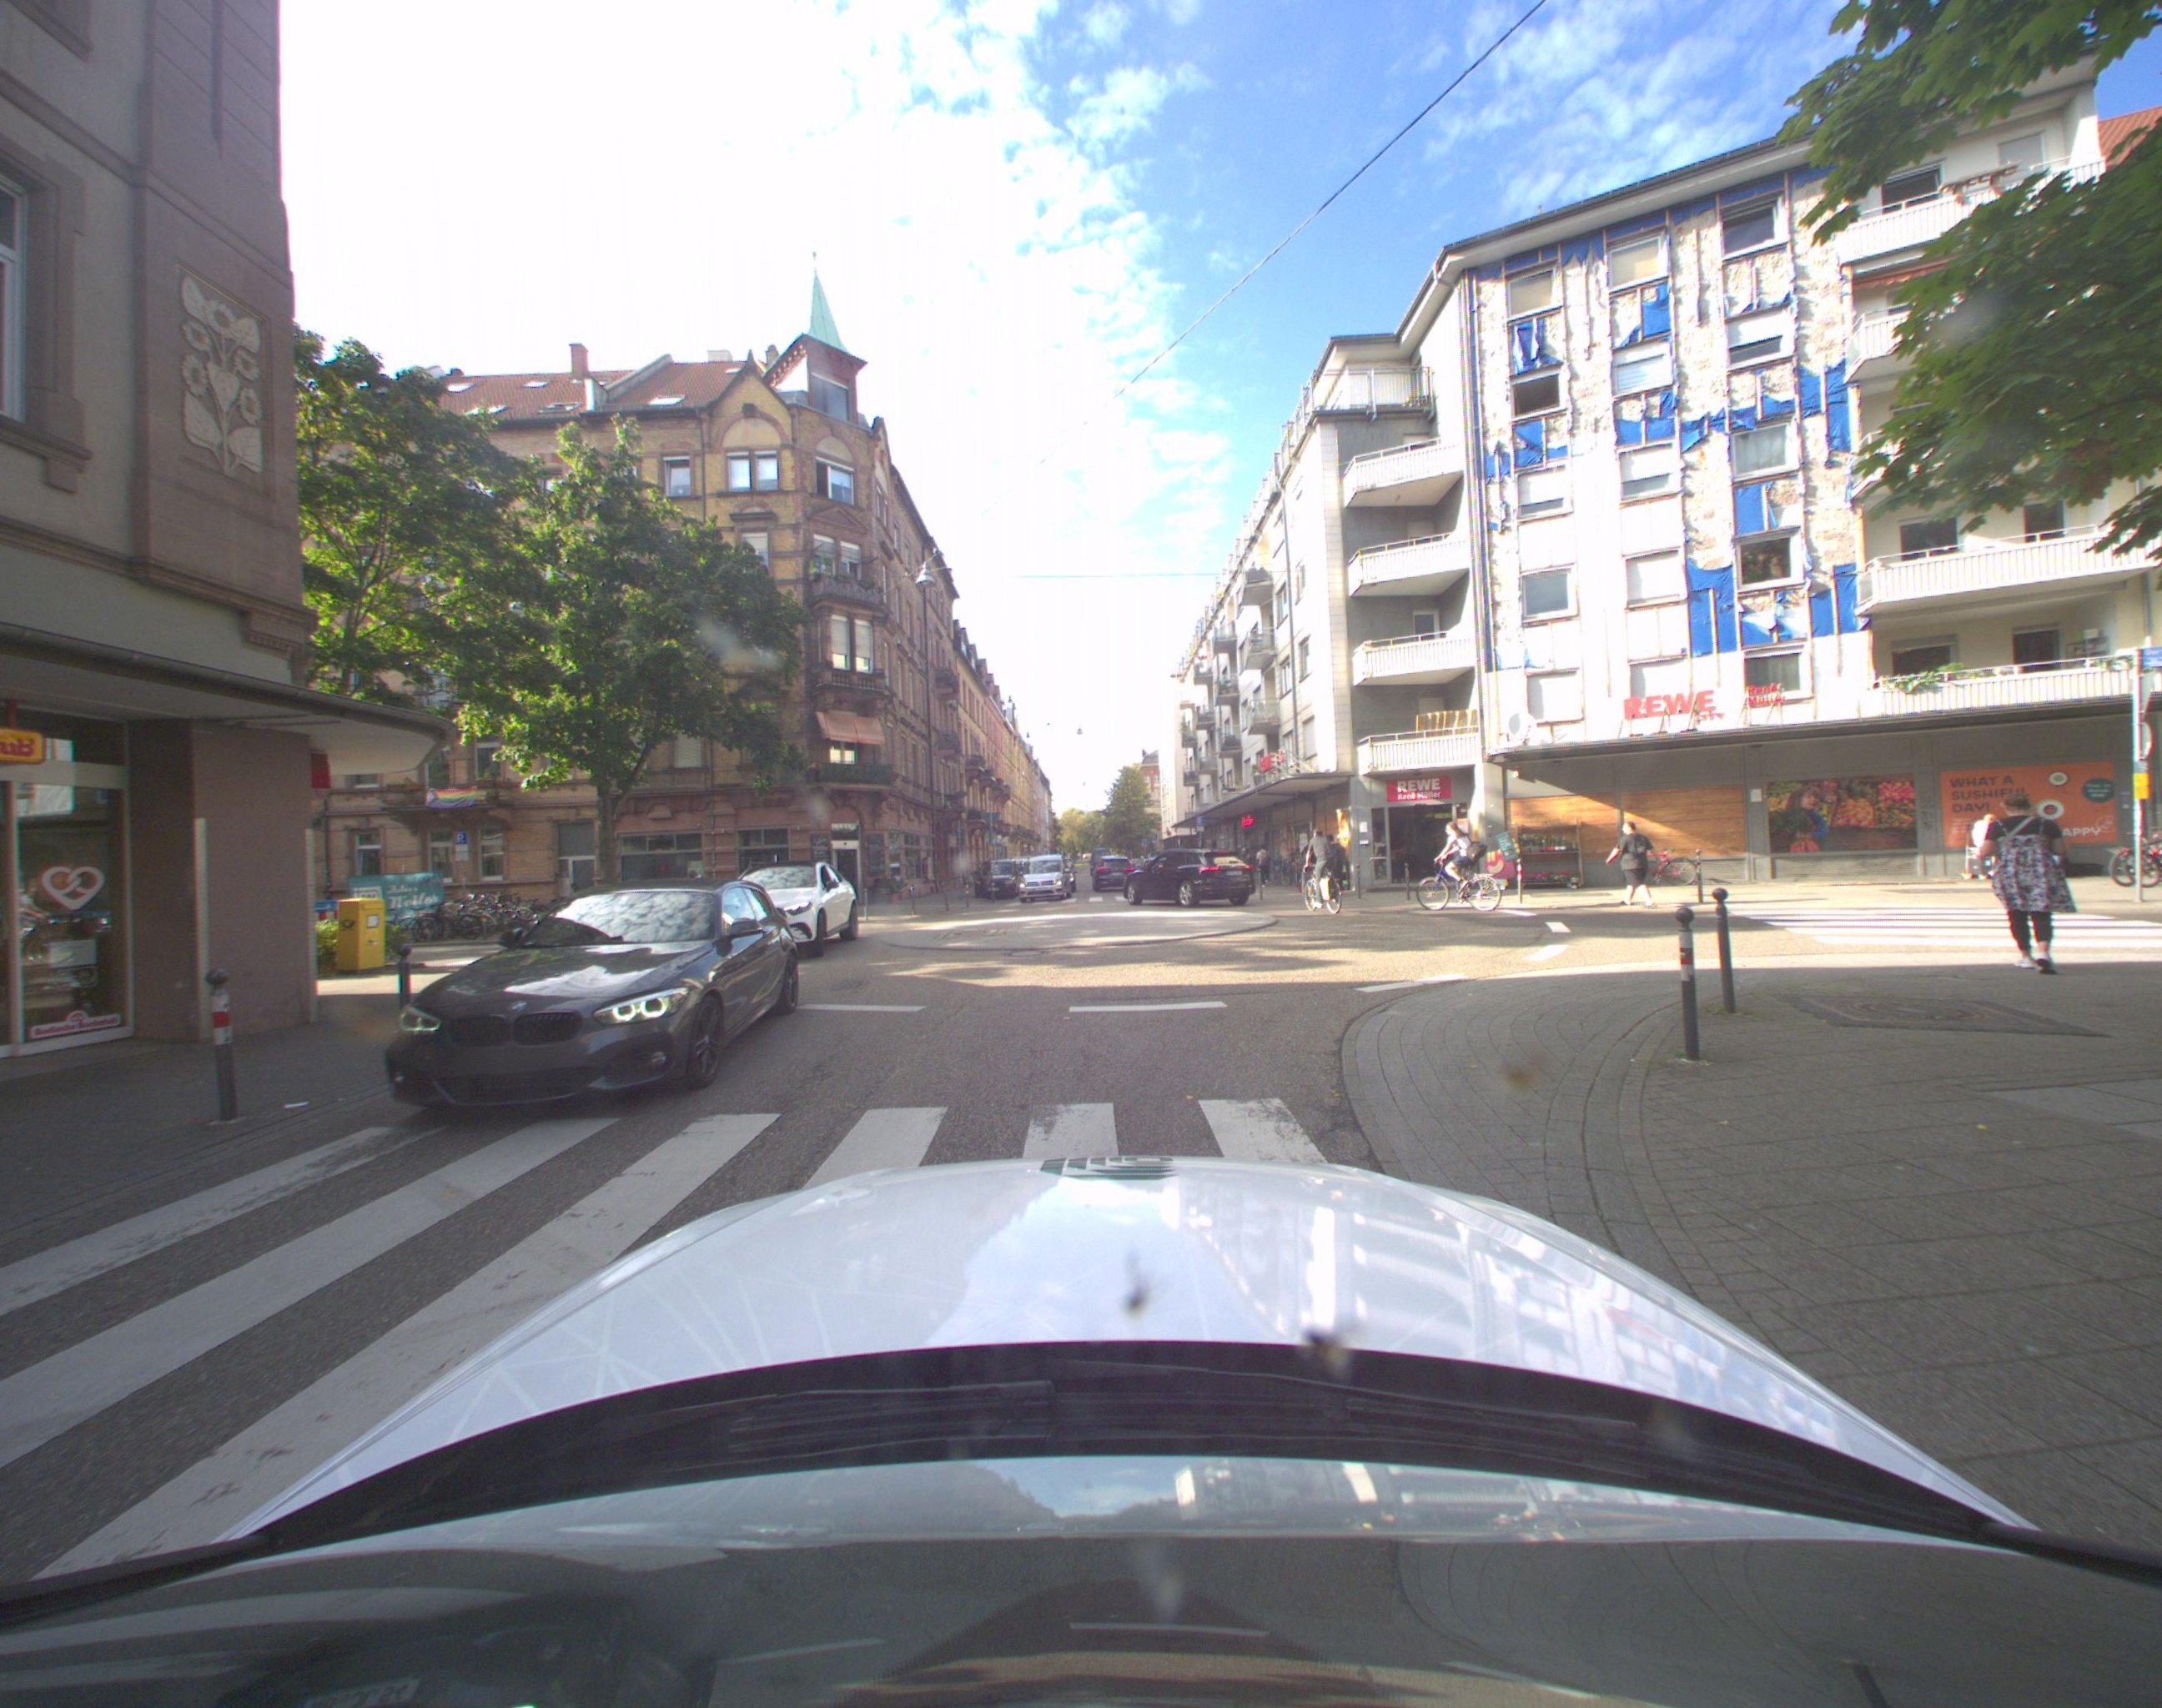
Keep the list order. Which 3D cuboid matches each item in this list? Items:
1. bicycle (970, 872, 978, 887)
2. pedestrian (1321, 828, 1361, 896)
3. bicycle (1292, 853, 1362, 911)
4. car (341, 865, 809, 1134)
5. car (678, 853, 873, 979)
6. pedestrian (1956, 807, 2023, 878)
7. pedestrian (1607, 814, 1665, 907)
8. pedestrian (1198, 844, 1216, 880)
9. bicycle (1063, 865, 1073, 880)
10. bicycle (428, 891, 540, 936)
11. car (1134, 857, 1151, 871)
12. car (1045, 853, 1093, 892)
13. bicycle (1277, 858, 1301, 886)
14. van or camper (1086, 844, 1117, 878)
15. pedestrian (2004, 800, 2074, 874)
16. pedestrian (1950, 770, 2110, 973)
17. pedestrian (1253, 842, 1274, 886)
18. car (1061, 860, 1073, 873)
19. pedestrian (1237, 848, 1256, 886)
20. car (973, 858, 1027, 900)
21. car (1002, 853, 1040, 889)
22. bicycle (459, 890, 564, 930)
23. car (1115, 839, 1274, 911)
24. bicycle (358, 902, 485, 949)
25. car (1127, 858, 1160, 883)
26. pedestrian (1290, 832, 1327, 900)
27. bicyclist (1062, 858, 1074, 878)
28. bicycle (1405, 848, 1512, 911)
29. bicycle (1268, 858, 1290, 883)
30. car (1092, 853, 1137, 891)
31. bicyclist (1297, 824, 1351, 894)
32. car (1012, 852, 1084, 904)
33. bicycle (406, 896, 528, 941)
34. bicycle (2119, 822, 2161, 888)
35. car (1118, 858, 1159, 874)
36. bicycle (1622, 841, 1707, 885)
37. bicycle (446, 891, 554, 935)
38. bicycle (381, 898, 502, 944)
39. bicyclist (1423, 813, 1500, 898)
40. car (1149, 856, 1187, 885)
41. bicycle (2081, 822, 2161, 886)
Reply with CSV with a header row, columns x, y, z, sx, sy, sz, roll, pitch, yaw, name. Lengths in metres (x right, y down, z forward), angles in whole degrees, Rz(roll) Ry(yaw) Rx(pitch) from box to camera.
x,y,z,sx,sy,sz,roll,pitch,yaw,name
-6.946,1.640,52.855,0.359,0.947,1.713,-2,0,-4,bicycle
7.322,0.227,22.958,0.864,1.851,0.613,-3,-1,5,pedestrian
5.322,0.578,17.810,0.664,1.178,2.495,-1,-1,-2,bicycle
-3.543,0.853,6.721,1.749,1.436,4.198,-1,-1,-9,car
-5.279,0.942,14.875,1.939,1.722,4.842,-4,1,-4,car
19.864,-0.248,17.822,0.743,1.479,0.590,-3,-1,26,pedestrian
10.817,0.123,15.893,0.624,1.739,0.778,-3,-1,13,pedestrian
6.795,0.420,43.872,0.725,1.864,1.067,-3,-1,16,pedestrian
-1.331,1.917,83.545,0.923,1.489,3.459,0,-1,-3,bicycle
-18.634,1.850,25.462,2.889,1.190,0.632,-3,-1,-3,bicycle
6.923,1.114,91.648,1.639,1.324,3.578,-5,-1,2,car
-0.535,0.901,41.094,1.919,1.724,4.740,-4,0,4,car
8.003,0.687,31.339,0.362,1.016,1.427,-2,0,-7,bicycle
1.900,0.641,76.398,2.524,3.037,4.456,-3,0,-2,van or camper
20.658,-0.368,17.578,0.740,1.550,0.736,-1,0,27,pedestrian
8.885,0.158,7.669,0.774,1.780,0.798,-3,-1,39,pedestrian
7.243,0.391,32.309,0.735,1.712,0.736,-3,-1,12,pedestrian
-2.356,2.079,138.698,1.987,2.013,4.000,-3,0,0,car
7.316,0.547,35.906,0.740,1.629,0.815,-3,-1,12,pedestrian
-3.716,1.111,37.938,1.775,1.724,4.449,-1,1,3,car
-3.642,1.019,49.934,1.988,2.013,3.998,-3,0,-1,car
-18.758,1.844,26.867,2.889,1.123,0.632,-3,-1,-3,bicycle
3.087,0.559,23.356,2.047,1.724,4.802,-4,1,-27,car
-18.716,2.024,23.163,2.889,1.123,0.725,-3,-1,-3,bicycle
4.154,1.069,54.663,1.986,1.486,4.001,-3,0,2,car
6.451,0.333,23.117,0.864,1.851,0.613,-3,-1,5,pedestrian
-1.324,1.425,83.538,1.130,1.998,1.027,0,-1,-4,bicyclist
7.751,0.522,16.822,0.713,1.199,1.959,-2,-1,-25,bicycle
8.195,0.684,33.697,0.359,0.999,1.713,-2,0,-3,bicycle
1.556,0.839,39.230,1.987,1.618,4.000,-3,0,0,car
5.303,0.101,17.808,0.931,1.484,0.746,-1,-1,-3,bicyclist
-1.204,0.885,32.217,1.782,1.790,4.749,-4,-1,10,car
-18.577,1.947,24.675,3.089,1.123,0.632,-3,-1,-3,bicycle
19.742,-0.028,14.391,2.131,1.141,0.485,-3,0,0,bicycle
5.872,1.231,83.999,3.976,1.486,1.999,-3,-1,-2,car
14.575,0.235,20.379,1.663,1.050,0.461,-3,-1,40,bicycle
-18.661,1.883,26.197,2.889,1.197,0.632,-3,-1,-3,bicycle
-18.699,1.946,23.847,2.889,1.123,0.632,-3,-1,-3,bicycle
7.793,0.027,16.714,0.945,1.668,1.008,-2,-1,-25,bicyclist
4.579,0.849,43.110,1.639,1.324,3.578,-5,-1,2,car
19.673,-0.020,14.945,2.072,1.141,0.435,-1,0,0,bicycle
